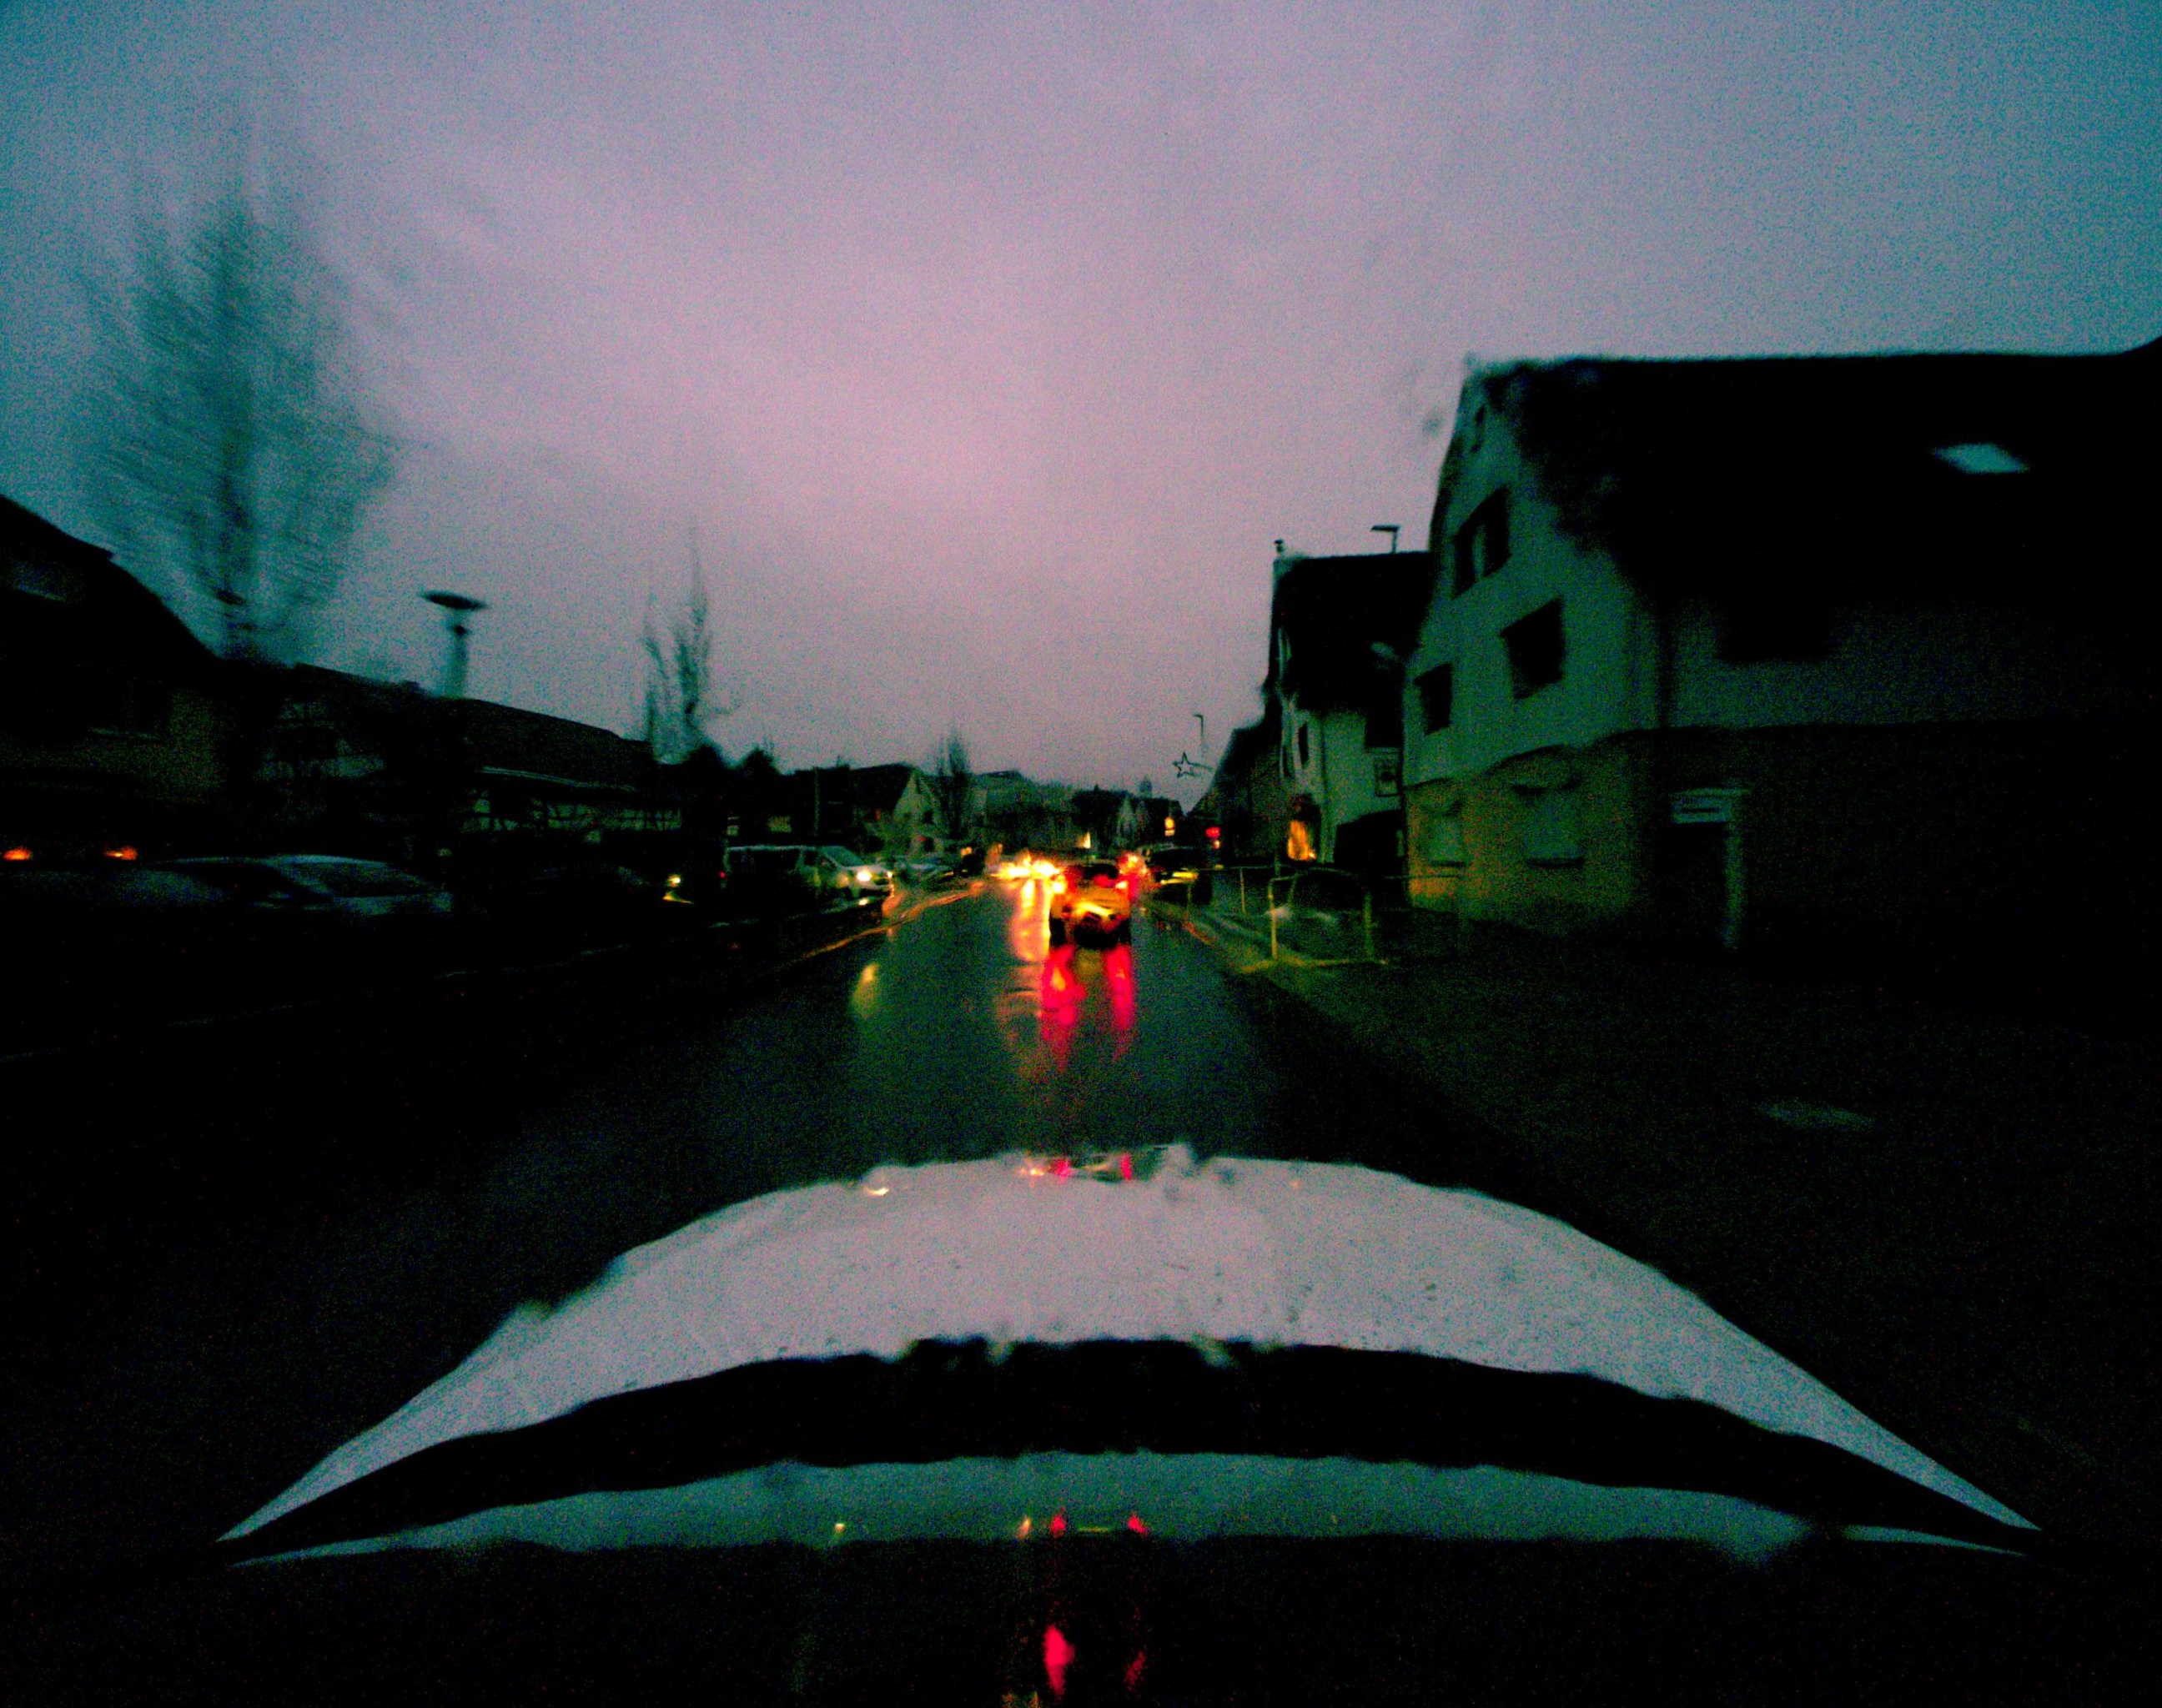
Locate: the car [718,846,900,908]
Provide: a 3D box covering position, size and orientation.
[{"bbox_3d":[-8.625,0.696,25.914,5.358,1.818,1.718,1,-1,14],"label":"car"}]

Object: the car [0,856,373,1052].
[{"bbox_3d":[-9.531,0.873,7.824,4.147,1.644,1.660,-1,-1,5],"label":"car"}]

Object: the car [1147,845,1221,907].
[{"bbox_3d":[3.293,0.712,26.736,1.990,1.865,4.083,0,-1,1],"label":"car"}]

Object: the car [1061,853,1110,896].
[{"bbox_3d":[0.236,0.790,32.450,1.759,1.628,3.588,0,0,3],"label":"car"}]

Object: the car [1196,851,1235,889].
[{"bbox_3d":[8.499,1.054,51.602,1.985,2.249,4.001,0,-3,2],"label":"car"}]

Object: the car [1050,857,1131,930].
[{"bbox_3d":[0.205,0.778,17.275,1.557,1.412,3.018,0,-1,1],"label":"car"}]

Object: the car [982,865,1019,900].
[{"bbox_3d":[-4.870,1.758,49.613,1.914,2.028,3.972,0,-3,-1],"label":"car"}]

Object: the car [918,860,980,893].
[{"bbox_3d":[-9.150,1.608,56.149,4.331,2.167,2.011,-3,-4,45],"label":"car"}]

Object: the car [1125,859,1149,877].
[{"bbox_3d":[4.947,1.252,71.333,1.476,1.527,3.427,-1,-3,15],"label":"car"}]

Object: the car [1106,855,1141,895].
[{"bbox_3d":[2.536,1.295,48.809,1.986,2.252,4.001,0,-3,2],"label":"car"}]

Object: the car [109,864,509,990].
[{"bbox_3d":[-9.613,0.857,10.329,3.528,1.447,1.711,0,-1,5],"label":"car"}]

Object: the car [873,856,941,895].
[{"bbox_3d":[-10.669,1.363,49.709,4.331,2.252,2.011,-3,-4,45],"label":"car"}]

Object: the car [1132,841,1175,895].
[{"bbox_3d":[3.414,0.748,39.163,1.863,2.469,4.445,0,-3,2],"label":"car"}]

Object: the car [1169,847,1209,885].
[{"bbox_3d":[6.024,0.744,45.828,1.863,1.999,4.445,0,-3,2],"label":"car"}]

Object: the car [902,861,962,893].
[{"bbox_3d":[-9.775,1.528,53.316,4.117,1.976,1.833,-3,-4,45],"label":"car"}]

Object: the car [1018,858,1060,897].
[{"bbox_3d":[-2.286,1.354,45.682,1.986,2.113,4.001,0,-3,2],"label":"car"}]

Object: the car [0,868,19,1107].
[{"bbox_3d":[-9.623,0.928,5.033,4.178,1.652,1.682,0,-1,5],"label":"car"}]
